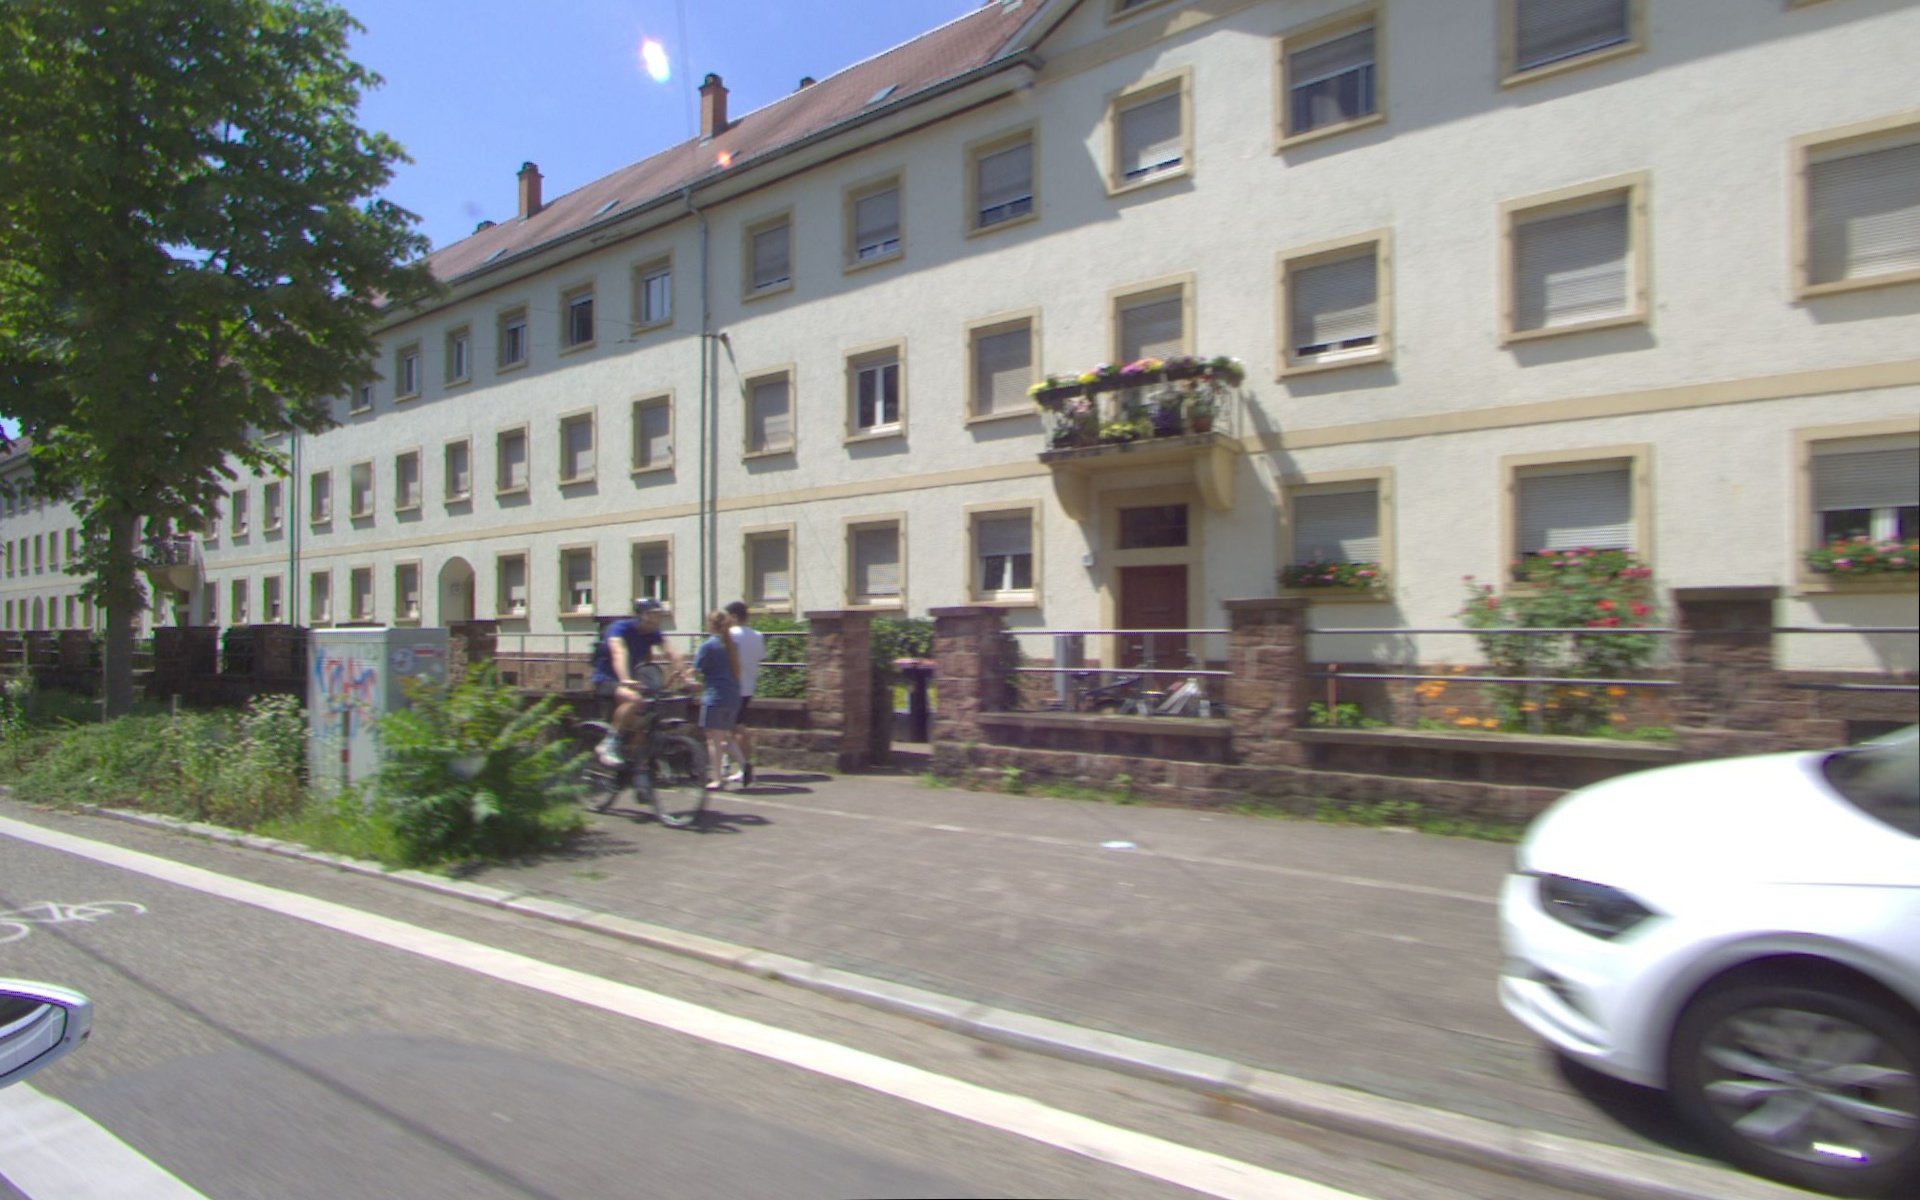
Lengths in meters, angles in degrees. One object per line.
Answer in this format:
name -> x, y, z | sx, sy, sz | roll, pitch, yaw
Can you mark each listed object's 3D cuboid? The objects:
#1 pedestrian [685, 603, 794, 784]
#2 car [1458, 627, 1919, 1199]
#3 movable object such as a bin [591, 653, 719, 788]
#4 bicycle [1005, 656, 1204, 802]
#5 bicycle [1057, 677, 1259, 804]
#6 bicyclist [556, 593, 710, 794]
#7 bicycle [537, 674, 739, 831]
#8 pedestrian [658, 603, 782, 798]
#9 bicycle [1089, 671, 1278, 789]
pedestrian -> -2.174, 0.885, 9.891 | 0.746, 1.691, 0.695 | -1, 0, 34
car -> 3.741, 0.826, 2.690 | 4.100, 1.429, 1.772 | -2, 1, 34
movable object such as a bin -> -2.980, 1.138, 9.771 | 1.022, 1.201, 0.695 | -1, 0, 34
bicycle -> 1.277, 1.111, 9.078 | 1.732, 1.190, 0.594 | -1, -3, 39
bicycle -> 1.876, 1.302, 9.601 | 1.837, 1.076, 0.526 | -1, -2, 30
bicyclist -> -2.594, 0.711, 7.932 | 0.997, 1.470, 0.709 | -1, -3, 38
bicycle -> -2.566, 1.136, 7.890 | 1.800, 1.064, 0.600 | -2, -3, 38
pedestrian -> -2.207, 0.886, 9.227 | 0.857, 1.691, 0.695 | -1, 0, 34
bicycle -> 2.285, 1.298, 10.312 | 1.815, 1.076, 0.596 | -1, -2, 30
